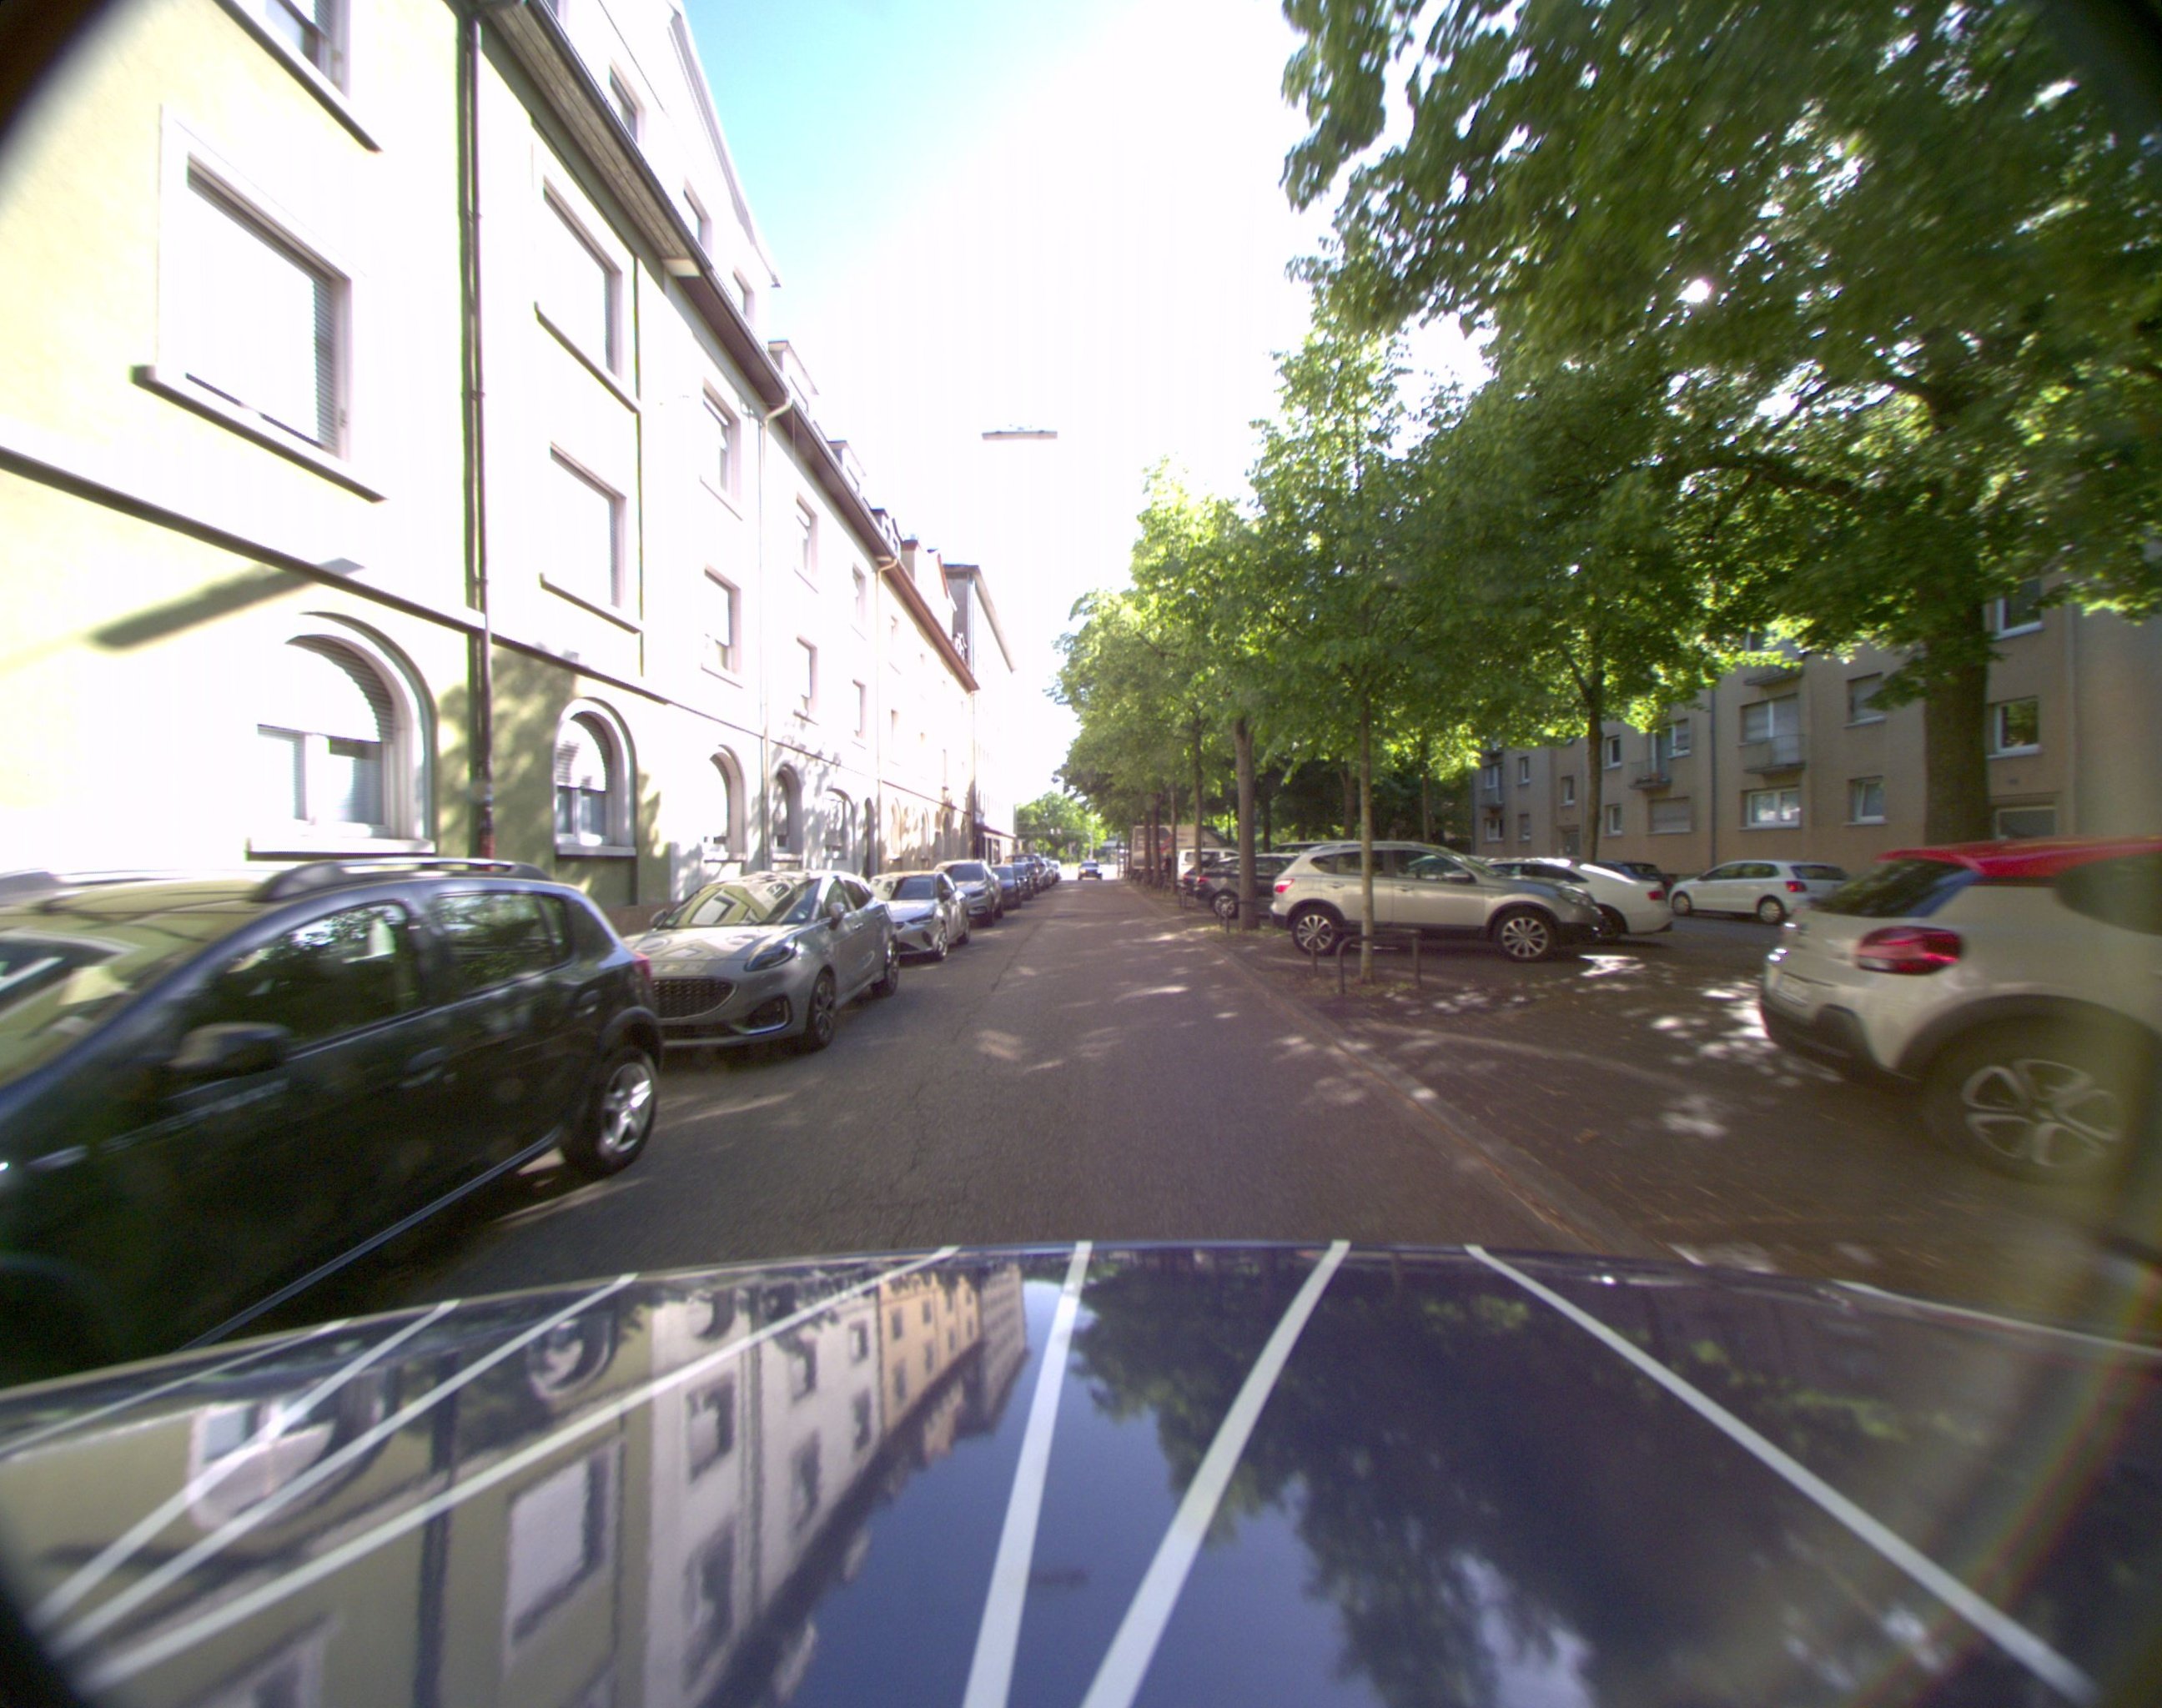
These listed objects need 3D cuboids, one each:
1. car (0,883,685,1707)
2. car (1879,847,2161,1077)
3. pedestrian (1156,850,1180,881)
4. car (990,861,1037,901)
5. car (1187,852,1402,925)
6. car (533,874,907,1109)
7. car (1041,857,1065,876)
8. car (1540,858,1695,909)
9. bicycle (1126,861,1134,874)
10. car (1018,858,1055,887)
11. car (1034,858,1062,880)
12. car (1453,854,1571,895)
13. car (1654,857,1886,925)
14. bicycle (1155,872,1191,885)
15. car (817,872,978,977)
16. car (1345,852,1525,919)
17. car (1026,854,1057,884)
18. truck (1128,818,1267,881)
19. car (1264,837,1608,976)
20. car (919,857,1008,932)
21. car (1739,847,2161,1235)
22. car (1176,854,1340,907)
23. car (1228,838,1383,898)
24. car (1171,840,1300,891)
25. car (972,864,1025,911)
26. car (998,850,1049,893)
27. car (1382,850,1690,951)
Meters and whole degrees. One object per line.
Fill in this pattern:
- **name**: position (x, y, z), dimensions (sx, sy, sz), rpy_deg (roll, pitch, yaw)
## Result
- **car**: position (-3.109, 0.974, 2.324), dimensions (1.727, 1.587, 4.157), rpy_deg (-1, 0, -2)
- **car**: position (8.224, 0.691, 5.196), dimensions (3.534, 1.498, 1.761), rpy_deg (-1, 0, 34)
- **pedestrian**: position (4.053, 0.535, 35.412), dimensions (0.751, 1.388, 0.930), rpy_deg (-1, 0, 32)
- **car**: position (-2.672, 1.043, 30.671), dimensions (1.626, 1.489, 3.594), rpy_deg (-1, 0, -1)
- **car**: position (4.842, 0.748, 17.447), dimensions (4.411, 1.453, 1.719), rpy_deg (-1, 1, 33)
- **car**: position (-3.010, 1.019, 7.430), dimensions (1.727, 1.519, 4.157), rpy_deg (-1, 0, -1)
- **car**: position (-2.270, 1.048, 63.370), dimensions (1.723, 1.488, 4.023), rpy_deg (-1, 0, 2)
- **car**: position (15.977, 0.817, 22.912), dimensions (1.896, 1.379, 4.000), rpy_deg (0, 0, 1)
- **bicycle**: position (4.268, 1.179, 66.320), dimensions (0.354, 1.066, 1.591), rpy_deg (-1, 0, -10)
- **car**: position (-2.390, 0.961, 41.903), dimensions (1.766, 1.491, 4.238), rpy_deg (-1, 0, 0)
- **car**: position (-2.344, 0.997, 52.639), dimensions (1.807, 1.454, 4.439), rpy_deg (-1, 0, -4)
- **car**: position (15.913, 0.705, 28.350), dimensions (1.732, 1.385, 4.616), rpy_deg (0, 0, -1)
- **car**: position (15.992, 0.794, 17.976), dimensions (1.896, 1.379, 4.000), rpy_deg (-1, 0, 1)
- **bicycle**: position (4.208, 1.127, 34.833), dimensions (1.610, 0.555, 0.410), rpy_deg (-1, 0, 32)
- **car**: position (-2.980, 1.080, 13.229), dimensions (1.727, 1.424, 4.158), rpy_deg (-1, 0, 0)
- **car**: position (8.511, 0.719, 18.384), dimensions (3.623, 1.447, 1.822), rpy_deg (-1, 0, 38)
- **car**: position (-2.407, 0.915, 47.318), dimensions (1.766, 1.743, 4.509), rpy_deg (-1, 0, -1)
- **truck**: position (6.486, -0.201, 42.837), dimensions (7.305, 3.274, 2.552), rpy_deg (-1, 0, 32)
- **car**: position (4.933, 0.652, 10.882), dimensions (4.136, 1.669, 1.762), rpy_deg (-1, 0, 30)
- **car**: position (-2.921, 0.946, 19.628), dimensions (1.727, 1.676, 4.157), rpy_deg (-1, 0, -2)
- **car**: position (5.557, 0.714, 3.162), dimensions (3.989, 1.498, 1.761), rpy_deg (-1, 0, 29)
- **car**: position (5.298, 0.753, 22.935), dimensions (4.477, 1.447, 1.791), rpy_deg (-1, 0, 33)
- **car**: position (7.413, 0.419, 25.192), dimensions (4.593, 1.821, 2.022), rpy_deg (0, 1, 30)
- **car**: position (6.050, 0.473, 29.679), dimensions (4.512, 1.854, 2.084), rpy_deg (-1, 0, 26)
- **car**: position (-2.707, 1.061, 25.639), dimensions (1.553, 1.386, 3.860), rpy_deg (-1, 0, -3)
- **car**: position (-2.668, 0.774, 36.426), dimensions (1.953, 1.889, 4.846), rpy_deg (-1, 0, 1)
- **car**: position (7.313, 0.728, 12.513), dimensions (4.032, 1.395, 1.827), rpy_deg (-3, 0, 33)
